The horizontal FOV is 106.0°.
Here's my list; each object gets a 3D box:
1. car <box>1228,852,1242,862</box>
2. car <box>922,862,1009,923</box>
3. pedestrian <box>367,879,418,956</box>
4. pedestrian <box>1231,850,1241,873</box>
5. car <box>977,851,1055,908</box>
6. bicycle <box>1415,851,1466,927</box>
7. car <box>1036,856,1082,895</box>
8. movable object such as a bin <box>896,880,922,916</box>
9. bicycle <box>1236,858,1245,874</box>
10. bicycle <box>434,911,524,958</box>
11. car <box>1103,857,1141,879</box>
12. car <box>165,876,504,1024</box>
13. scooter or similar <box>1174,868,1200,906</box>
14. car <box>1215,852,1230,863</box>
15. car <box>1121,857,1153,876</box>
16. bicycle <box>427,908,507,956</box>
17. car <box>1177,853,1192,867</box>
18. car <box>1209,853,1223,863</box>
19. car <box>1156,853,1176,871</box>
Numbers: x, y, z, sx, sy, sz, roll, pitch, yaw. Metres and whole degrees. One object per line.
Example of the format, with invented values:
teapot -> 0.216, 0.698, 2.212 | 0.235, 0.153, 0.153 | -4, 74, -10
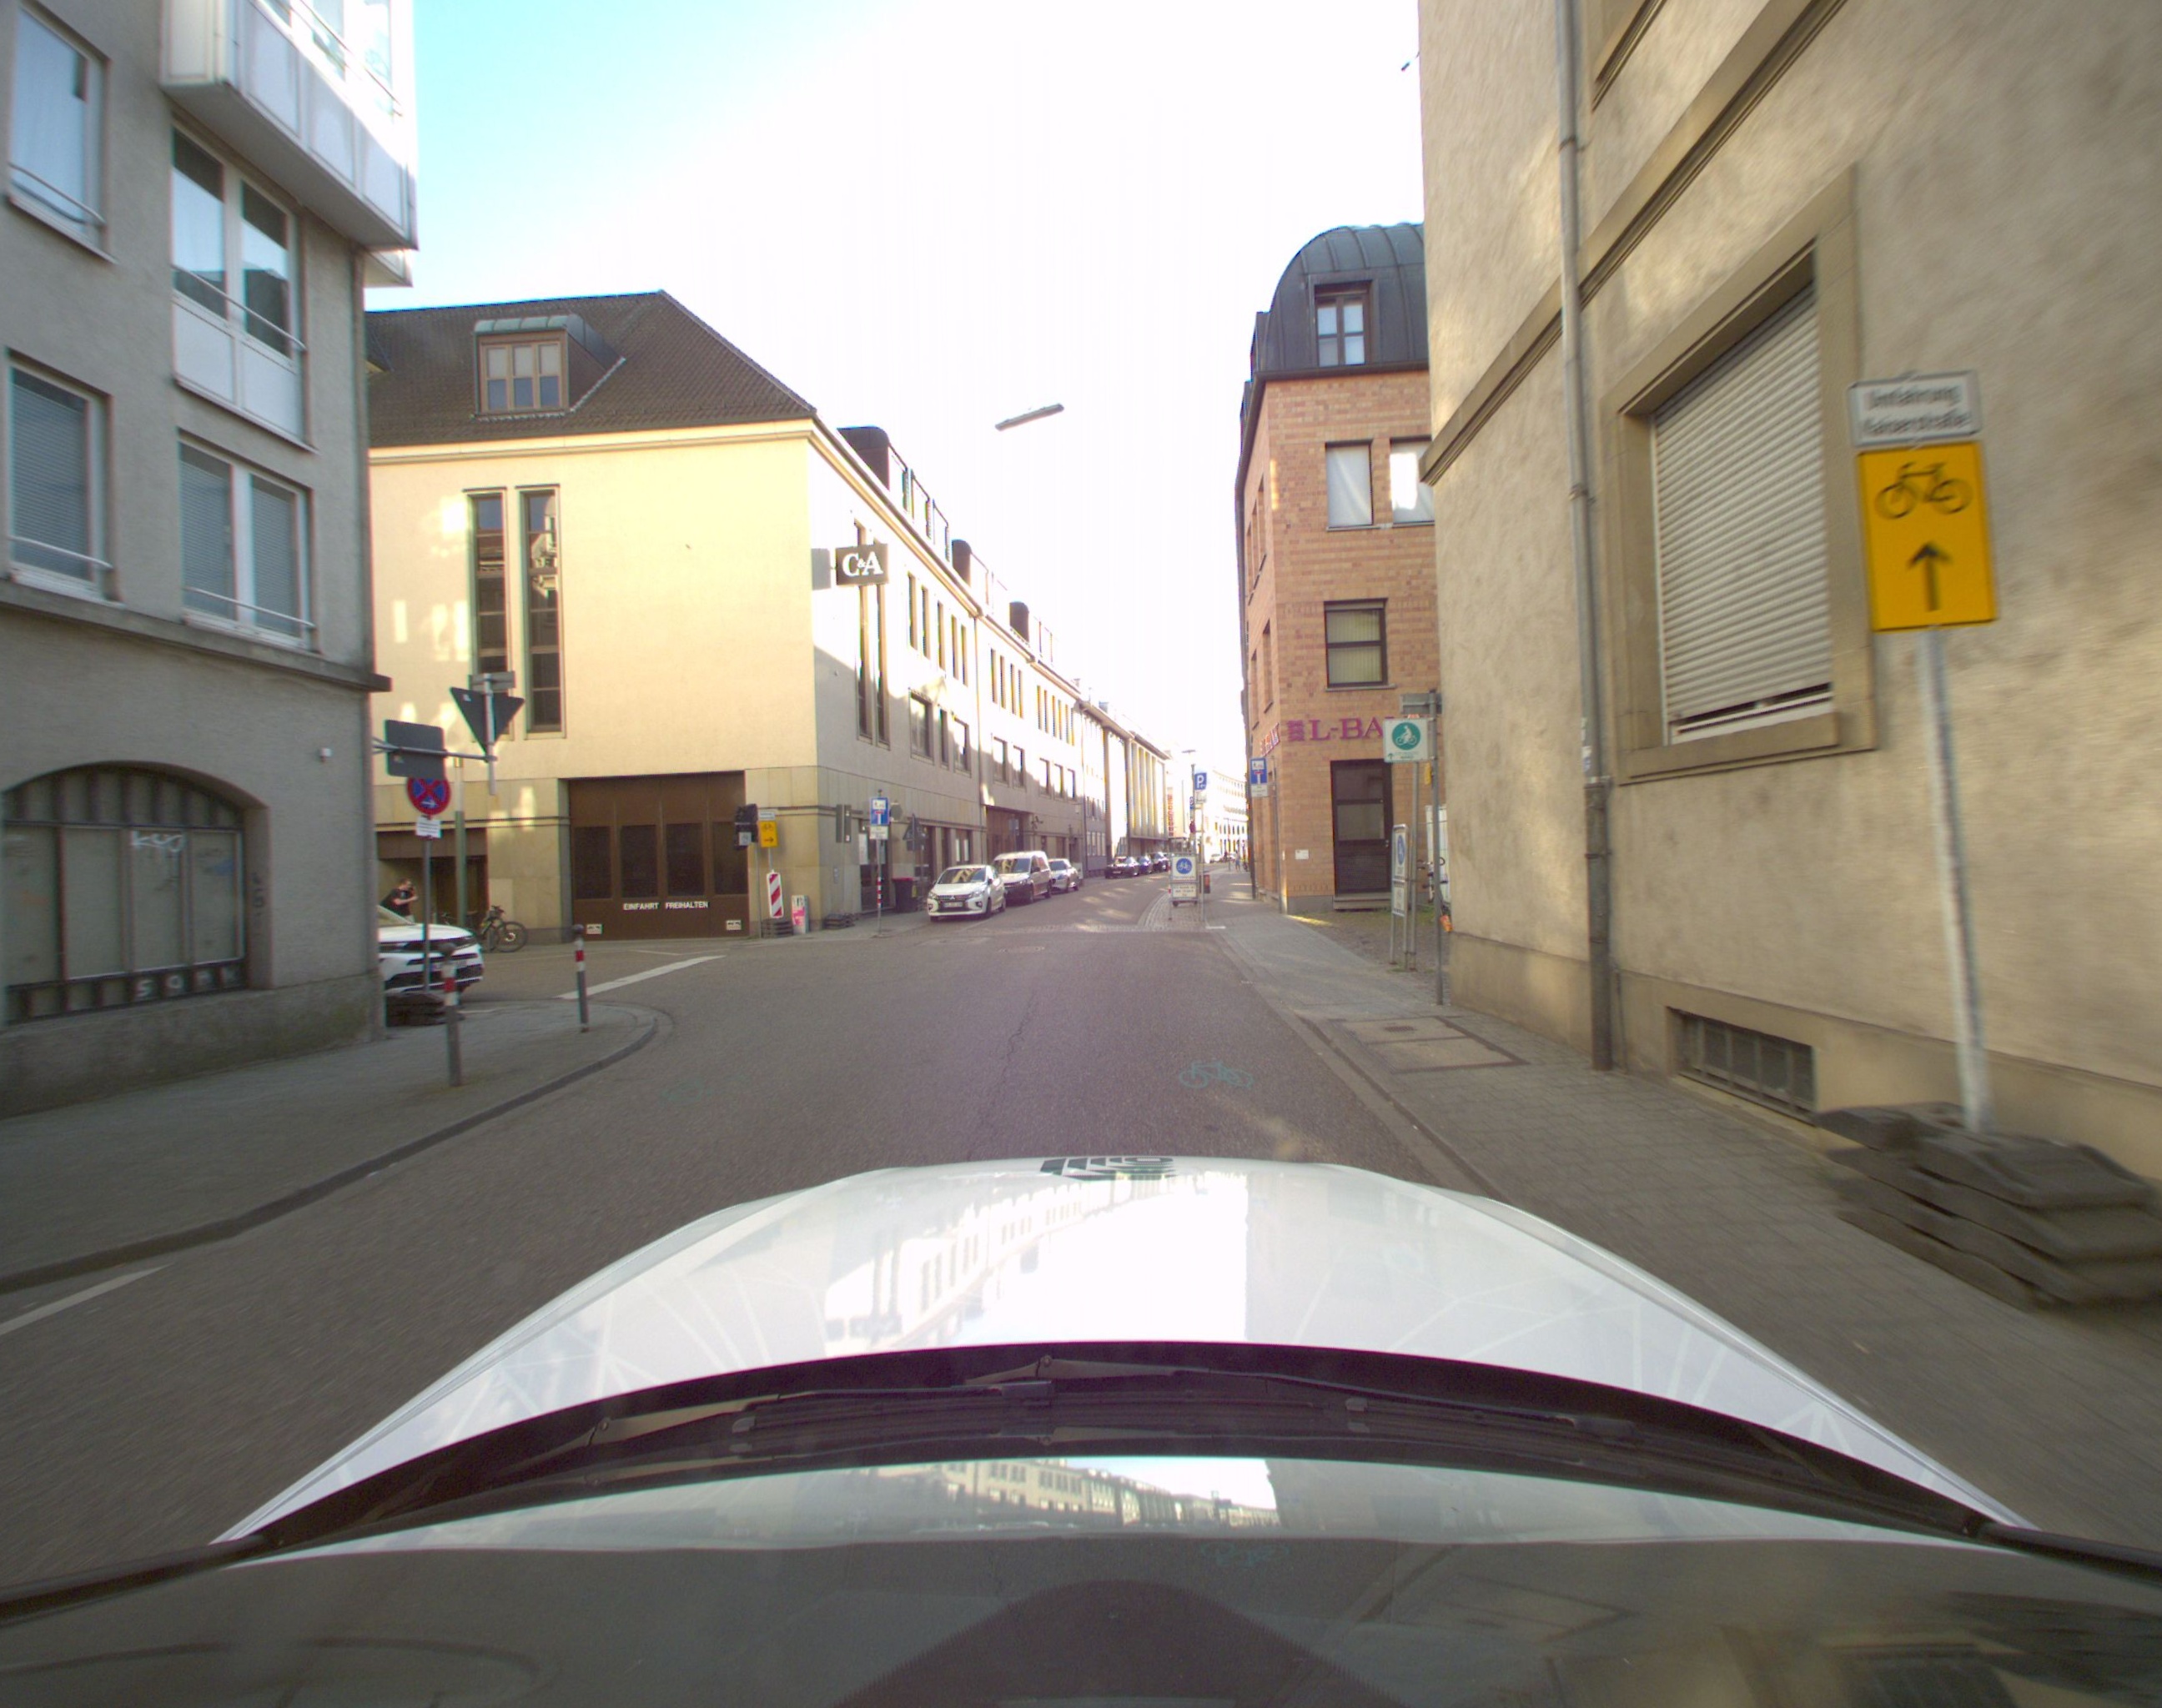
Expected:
car -> 22.208, 0.462, 117.268 | 1.677, 1.370, 3.632 | -3, 0, 15
car -> -3.217, 1.033, 23.381 | 1.663, 1.507, 3.797 | -4, 0, 4
pedestrian -> -16.034, 1.460, 18.982 | 0.693, 1.702, 0.660 | -1, 0, -22
pedestrian -> 11.890, 0.560, 62.402 | 0.662, 1.730, 0.840 | 0, -1, 2
car -> -2.223, 0.838, 29.215 | 1.661, 1.818, 4.563 | -4, 0, 9
bicycle -> 6.733, 0.625, 15.319 | 0.546, 1.317, 1.653 | -3, 0, 14
car -> -0.928, 0.906, 35.354 | 1.263, 1.507, 3.411 | -4, 0, 10
movable object such as a bin -> -5.193, 1.312, 24.616 | 0.607, 1.061, 0.713 | 0, -1, 0
bicycle -> 11.088, 0.823, 56.588 | 0.508, 0.994, 2.655 | -2, 0, 9
bicycle -> -13.445, 1.794, 18.219 | 1.693, 0.965, 0.224 | -2, 0, -8
car -> 2.849, 0.956, 55.778 | 1.868, 1.332, 4.115 | -2, 0, 13
car -> -10.085, 1.229, 11.026 | 3.952, 1.655, 1.773 | -3, 0, 21
scooter or similar -> 3.181, 0.997, 24.471 | 0.767, 1.136, 0.270 | 0, -1, 5
car -> 19.323, 0.504, 110.939 | 1.677, 1.370, 3.632 | -3, 0, 15
car -> 4.244, 0.925, 61.479 | 1.712, 1.340, 4.014 | -3, 0, 13
bicycle -> -13.895, 1.763, 18.437 | 1.482, 1.004, 0.270 | -2, 0, -7
car -> 11.729, 0.688, 92.224 | 1.329, 1.494, 3.359 | -2, 0, 13
car -> 19.354, 0.579, 116.664 | 1.677, 1.370, 3.632 | -3, 0, 15
car -> 7.841, 0.717, 75.039 | 1.329, 1.494, 3.522 | -2, 0, 13
